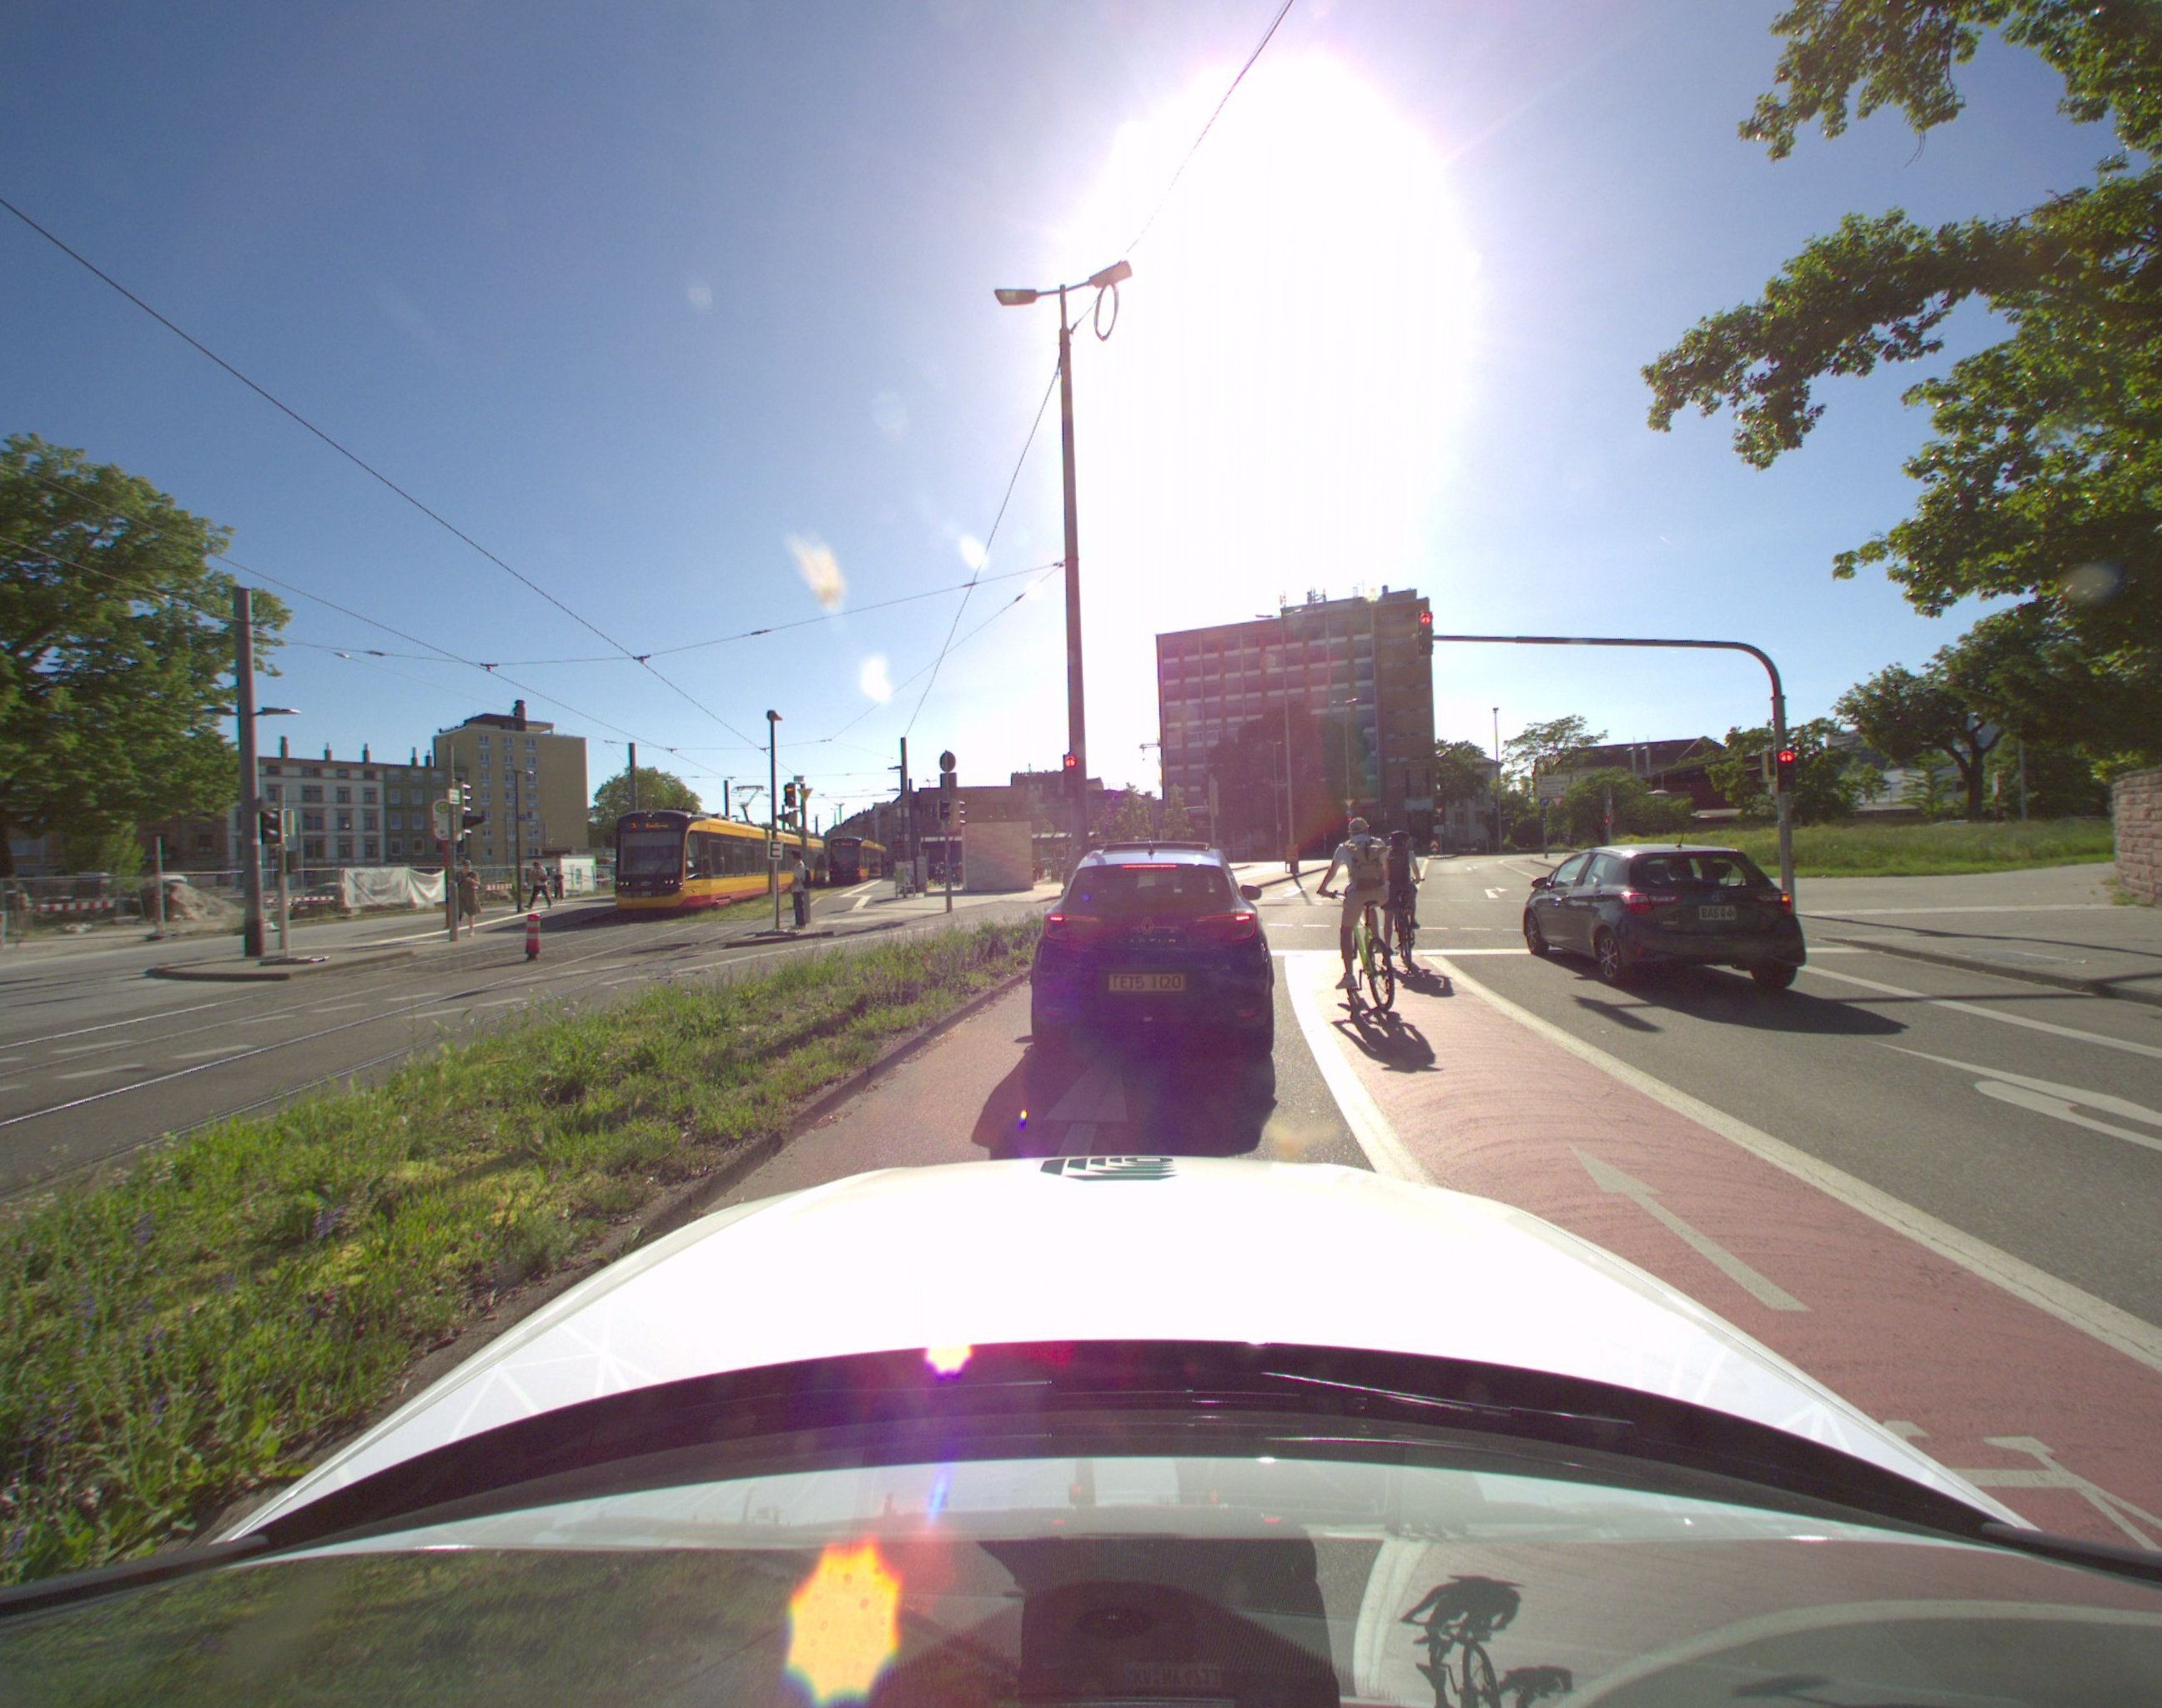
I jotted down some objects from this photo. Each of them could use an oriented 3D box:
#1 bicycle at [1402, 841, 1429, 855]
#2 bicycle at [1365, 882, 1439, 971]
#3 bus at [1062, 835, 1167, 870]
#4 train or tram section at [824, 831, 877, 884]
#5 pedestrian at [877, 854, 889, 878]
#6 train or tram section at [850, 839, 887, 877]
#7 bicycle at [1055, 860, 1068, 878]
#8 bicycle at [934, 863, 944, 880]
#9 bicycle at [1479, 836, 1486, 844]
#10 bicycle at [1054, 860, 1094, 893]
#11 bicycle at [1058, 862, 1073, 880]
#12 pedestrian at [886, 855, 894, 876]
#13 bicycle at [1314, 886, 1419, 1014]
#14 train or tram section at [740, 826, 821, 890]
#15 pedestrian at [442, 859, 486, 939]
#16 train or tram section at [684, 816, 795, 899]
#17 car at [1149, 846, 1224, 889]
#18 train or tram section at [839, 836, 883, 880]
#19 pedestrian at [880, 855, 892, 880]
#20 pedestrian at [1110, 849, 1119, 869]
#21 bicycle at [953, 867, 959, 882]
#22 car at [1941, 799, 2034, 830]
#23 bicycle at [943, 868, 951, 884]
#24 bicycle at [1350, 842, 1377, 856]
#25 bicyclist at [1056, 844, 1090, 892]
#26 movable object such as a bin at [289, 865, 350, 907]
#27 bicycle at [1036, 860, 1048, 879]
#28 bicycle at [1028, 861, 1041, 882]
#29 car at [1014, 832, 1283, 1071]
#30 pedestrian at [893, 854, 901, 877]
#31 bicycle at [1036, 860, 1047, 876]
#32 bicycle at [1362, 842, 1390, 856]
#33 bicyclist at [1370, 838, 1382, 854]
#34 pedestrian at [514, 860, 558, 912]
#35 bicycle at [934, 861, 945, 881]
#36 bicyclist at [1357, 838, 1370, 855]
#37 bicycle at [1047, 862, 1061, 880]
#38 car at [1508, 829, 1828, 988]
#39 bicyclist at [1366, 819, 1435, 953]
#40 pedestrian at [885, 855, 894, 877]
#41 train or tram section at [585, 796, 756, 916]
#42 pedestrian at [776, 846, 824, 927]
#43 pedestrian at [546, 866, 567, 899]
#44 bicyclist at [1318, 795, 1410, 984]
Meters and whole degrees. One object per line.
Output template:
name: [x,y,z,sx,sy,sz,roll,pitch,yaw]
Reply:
bicycle: [37.600,-0.672,91.519,2.775,1.541,0.889,-2,-2,27]
bicycle: [4.114,0.889,10.549,0.717,0.960,1.892,-1,0,16]
bus: [3.417,-0.094,87.698,12.287,3.396,2.900,-2,-2,42]
train or tram section: [-16.952,0.285,60.498,2.873,3.508,10.501,-1,0,-11]
pedestrian: [-16.346,0.975,67.260,0.735,1.918,0.745,-1,-2,15]
train or tram section: [-21.023,0.415,81.151,2.873,3.508,10.501,-1,0,-11]
bicycle: [-1.182,0.918,49.566,0.580,1.088,2.054,-1,-1,-6]
bicycle: [-9.280,1.120,53.300,0.565,1.093,2.023,-1,-1,-8]
bicycle: [56.669,-1.959,114.885,0.603,1.093,1.682,-3,0,33]
bicycle: [-0.226,0.775,28.738,0.767,1.080,2.044,-3,-1,17]
bicycle: [-0.848,0.909,43.904,0.580,0.961,2.054,-1,-1,-6]
pedestrian: [-17.100,1.033,72.864,0.631,1.857,0.701,-1,-1,-6]
bicycle: [2.819,0.900,8.218,0.659,1.047,1.895,-2,0,9]
train or tram section: [-18.366,0.264,50.587,2.817,3.508,11.169,-1,0,-10]
pedestrian: [-15.070,1.069,19.885,0.768,1.850,0.892,-3,2,-38]
train or tram section: [-16.370,0.173,39.939,2.817,3.508,10.572,-1,0,-11]
car: [4.072,0.467,30.815,1.784,1.393,4.115,-2,0,22]
train or tram section: [-19.011,0.359,70.829,2.873,3.508,10.501,-1,0,-11]
pedestrian: [-14.900,1.028,62.235,0.848,1.883,0.757,-1,-2,-13]
pedestrian: [3.209,0.491,78.688,0.721,1.857,0.705,-1,-1,11]
bicycle: [-8.234,1.333,53.696,0.421,0.938,1.375,0,-1,-8]
car: [69.285,-2.979,62.353,4.305,2.014,2.013,-2,-2,34]
bicycle: [-8.010,1.300,48.660,0.422,0.938,1.300,0,-1,-12]
bicycle: [31.926,-0.564,92.084,2.775,1.541,0.889,-2,-2,27]
bicyclist: [-0.273,0.490,28.685,0.873,1.644,1.065,-3,-1,17]
movable object such as a bin: [-52.851,2.217,56.519,3.950,2.796,1.844,-2,-2,27]
bicycle: [-2.390,0.938,49.536,0.580,1.088,2.054,-1,-1,-6]
bicycle: [-2.494,0.929,43.497,0.580,1.058,1.812,-1,-1,-6]
car: [0.707,0.653,7.366,1.813,1.600,3.667,-1,0,8]
pedestrian: [-15.274,0.944,67.609,0.633,1.857,0.699,0,-2,-17]
bicycle: [-2.744,0.979,57.031,0.580,1.088,1.866,-1,-1,-8]
bicycle: [33.705,-0.574,93.058,2.775,1.541,0.889,-2,-2,27]
bicyclist: [33.701,-0.938,93.059,1.146,1.797,0.889,-2,-2,27]
pedestrian: [-19.284,1.109,28.819,0.860,1.767,0.972,-2,0,-4]
bicycle: [-8.158,0.970,46.946,0.565,1.093,2.023,-1,-1,-8]
bicyclist: [31.924,-0.884,92.075,1.195,1.897,0.889,-2,-2,27]
bicycle: [-1.462,0.918,43.837,0.580,0.961,2.054,-1,-1,-6]
car: [6.707,0.536,9.842,1.745,1.541,3.670,-1,0,11]
bicyclist: [4.084,0.392,10.479,0.716,1.626,1.059,-1,0,16]
pedestrian: [-16.262,0.993,69.205,0.673,1.857,0.701,-1,-1,-6]
train or tram section: [-14.360,0.088,29.613,2.819,3.508,10.436,-2,0,-12]
pedestrian: [-6.511,0.737,18.847,1.020,1.832,0.755,0,-2,-22]
pedestrian: [-28.960,1.542,44.966,0.668,1.767,0.796,-2,0,-12]
bicyclist: [2.772,0.333,8.076,0.660,1.747,1.008,-2,0,9]
